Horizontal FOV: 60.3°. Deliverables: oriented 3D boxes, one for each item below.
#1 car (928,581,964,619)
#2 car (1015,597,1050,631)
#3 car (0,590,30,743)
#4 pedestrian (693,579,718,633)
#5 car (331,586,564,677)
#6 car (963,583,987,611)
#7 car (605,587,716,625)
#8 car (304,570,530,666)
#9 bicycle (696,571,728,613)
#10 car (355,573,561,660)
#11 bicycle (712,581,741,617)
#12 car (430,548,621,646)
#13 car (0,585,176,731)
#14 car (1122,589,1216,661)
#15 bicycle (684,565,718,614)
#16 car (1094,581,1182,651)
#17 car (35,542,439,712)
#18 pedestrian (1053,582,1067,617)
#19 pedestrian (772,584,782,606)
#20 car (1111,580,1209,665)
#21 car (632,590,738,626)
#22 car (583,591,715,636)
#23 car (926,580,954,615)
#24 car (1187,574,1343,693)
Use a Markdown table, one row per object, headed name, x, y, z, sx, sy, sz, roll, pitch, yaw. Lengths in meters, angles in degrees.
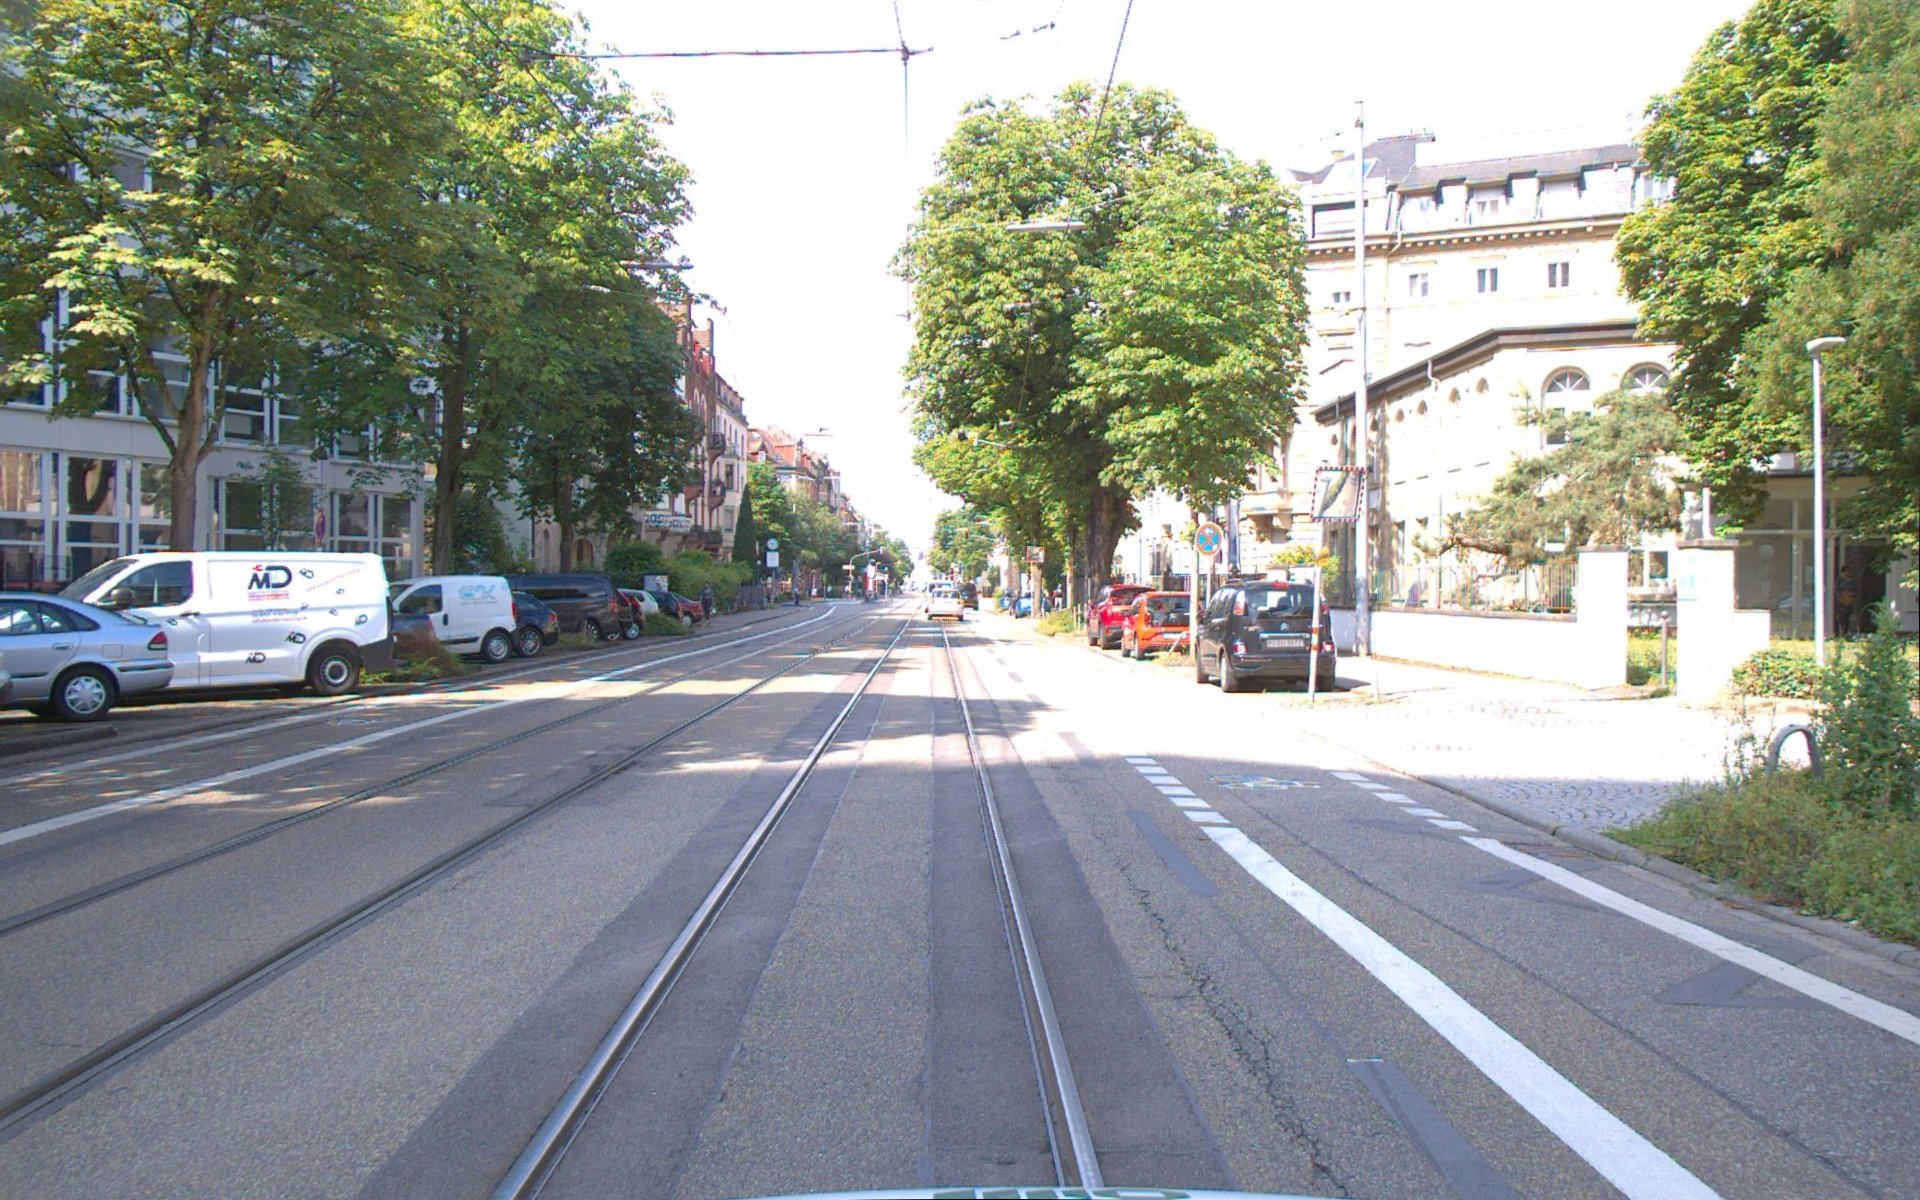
| name | x | y | z | sx | sy | sz | roll | pitch | yaw |
| --- | --- | --- | --- | --- | --- | --- | --- | --- | --- |
| car | -0.646 | 0.003 | 76.434 | 1.588 | 1.713 | 3.564 | 1 | 0 | -1 |
| car | 3.791 | 0.741 | 86.537 | 1.588 | 1.713 | 3.564 | 1 | 0 | -1 |
| car | -11.012 | 0.596 | 14.746 | 1.709 | 1.451 | 4.435 | 0 | -1 | 42 |
| pedestrian | -9.977 | 0.226 | 64.818 | 0.718 | 2.049 | 0.824 | -3 | -1 | 2 |
| car | -9.109 | 0.552 | 29.583 | 1.730 | 1.527 | 3.616 | 0 | -1 | 41 |
| car | 1.038 | -0.181 | 115.663 | 1.588 | 1.881 | 3.564 | 1 | 0 | -1 |
| car | -11.067 | 0.221 | 61.170 | 3.751 | 1.329 | 1.615 | 1 | 0 | -40 |
| car | -10.454 | 0.346 | 32.012 | 1.851 | 1.742 | 3.734 | 1 | 0 | 43 |
| bicycle | -11.815 | -0.386 | 78.945 | 0.919 | 1.952 | 2.500 | 1 | 0 | 5 |
| car | -10.585 | 0.346 | 35.024 | 1.851 | 1.742 | 3.734 | 1 | 0 | 43 |
| bicycle | -11.750 | -0.049 | 83.189 | 0.919 | 1.777 | 2.285 | 1 | 0 | 5 |
| car | -10.866 | -0.056 | 41.547 | 1.851 | 2.117 | 4.177 | 4 | -1 | 43 |
| car | -10.856 | 0.655 | 18.096 | 3.756 | 1.501 | 1.697 | -3 | 1 | -44 |
| car | 4.629 | 0.539 | 37.028 | 1.633 | 1.512 | 3.279 | -1 | 0 | -1 |
| bicycle | -11.522 | -0.468 | 73.649 | 0.919 | 2.115 | 2.500 | 1 | 0 | 5 |
| car | 4.700 | 0.405 | 44.183 | 1.920 | 1.736 | 4.000 | 1 | 0 | 0 |
| car | -9.661 | 0.279 | 22.357 | 4.605 | 1.945 | 1.902 | -4 | 2 | -43 |
| pedestrian | 5.905 | -0.053 | 97.596 | 0.745 | 2.049 | 0.764 | 1 | 0 | 1 |
| pedestrian | -17.573 | -0.474 | 158.486 | 0.868 | 2.049 | 0.786 | 1 | 0 | -10 |
| car | 4.417 | 0.461 | 36.923 | 1.640 | 1.639 | 3.584 | -2 | 2 | -1 |
| car | -10.665 | 0.316 | 64.203 | 3.751 | 1.329 | 1.615 | 1 | 0 | -40 |
| car | -9.734 | 0.445 | 51.899 | 3.751 | 1.329 | 1.615 | 1 | 0 | -40 |
| car | -1.197 | -0.132 | 98.014 | 1.588 | 2.035 | 3.564 | 1 | 0 | -1 |
| car | 4.621 | 0.450 | 25.479 | 1.640 | 1.639 | 3.584 | -2 | 1 | -1 |
